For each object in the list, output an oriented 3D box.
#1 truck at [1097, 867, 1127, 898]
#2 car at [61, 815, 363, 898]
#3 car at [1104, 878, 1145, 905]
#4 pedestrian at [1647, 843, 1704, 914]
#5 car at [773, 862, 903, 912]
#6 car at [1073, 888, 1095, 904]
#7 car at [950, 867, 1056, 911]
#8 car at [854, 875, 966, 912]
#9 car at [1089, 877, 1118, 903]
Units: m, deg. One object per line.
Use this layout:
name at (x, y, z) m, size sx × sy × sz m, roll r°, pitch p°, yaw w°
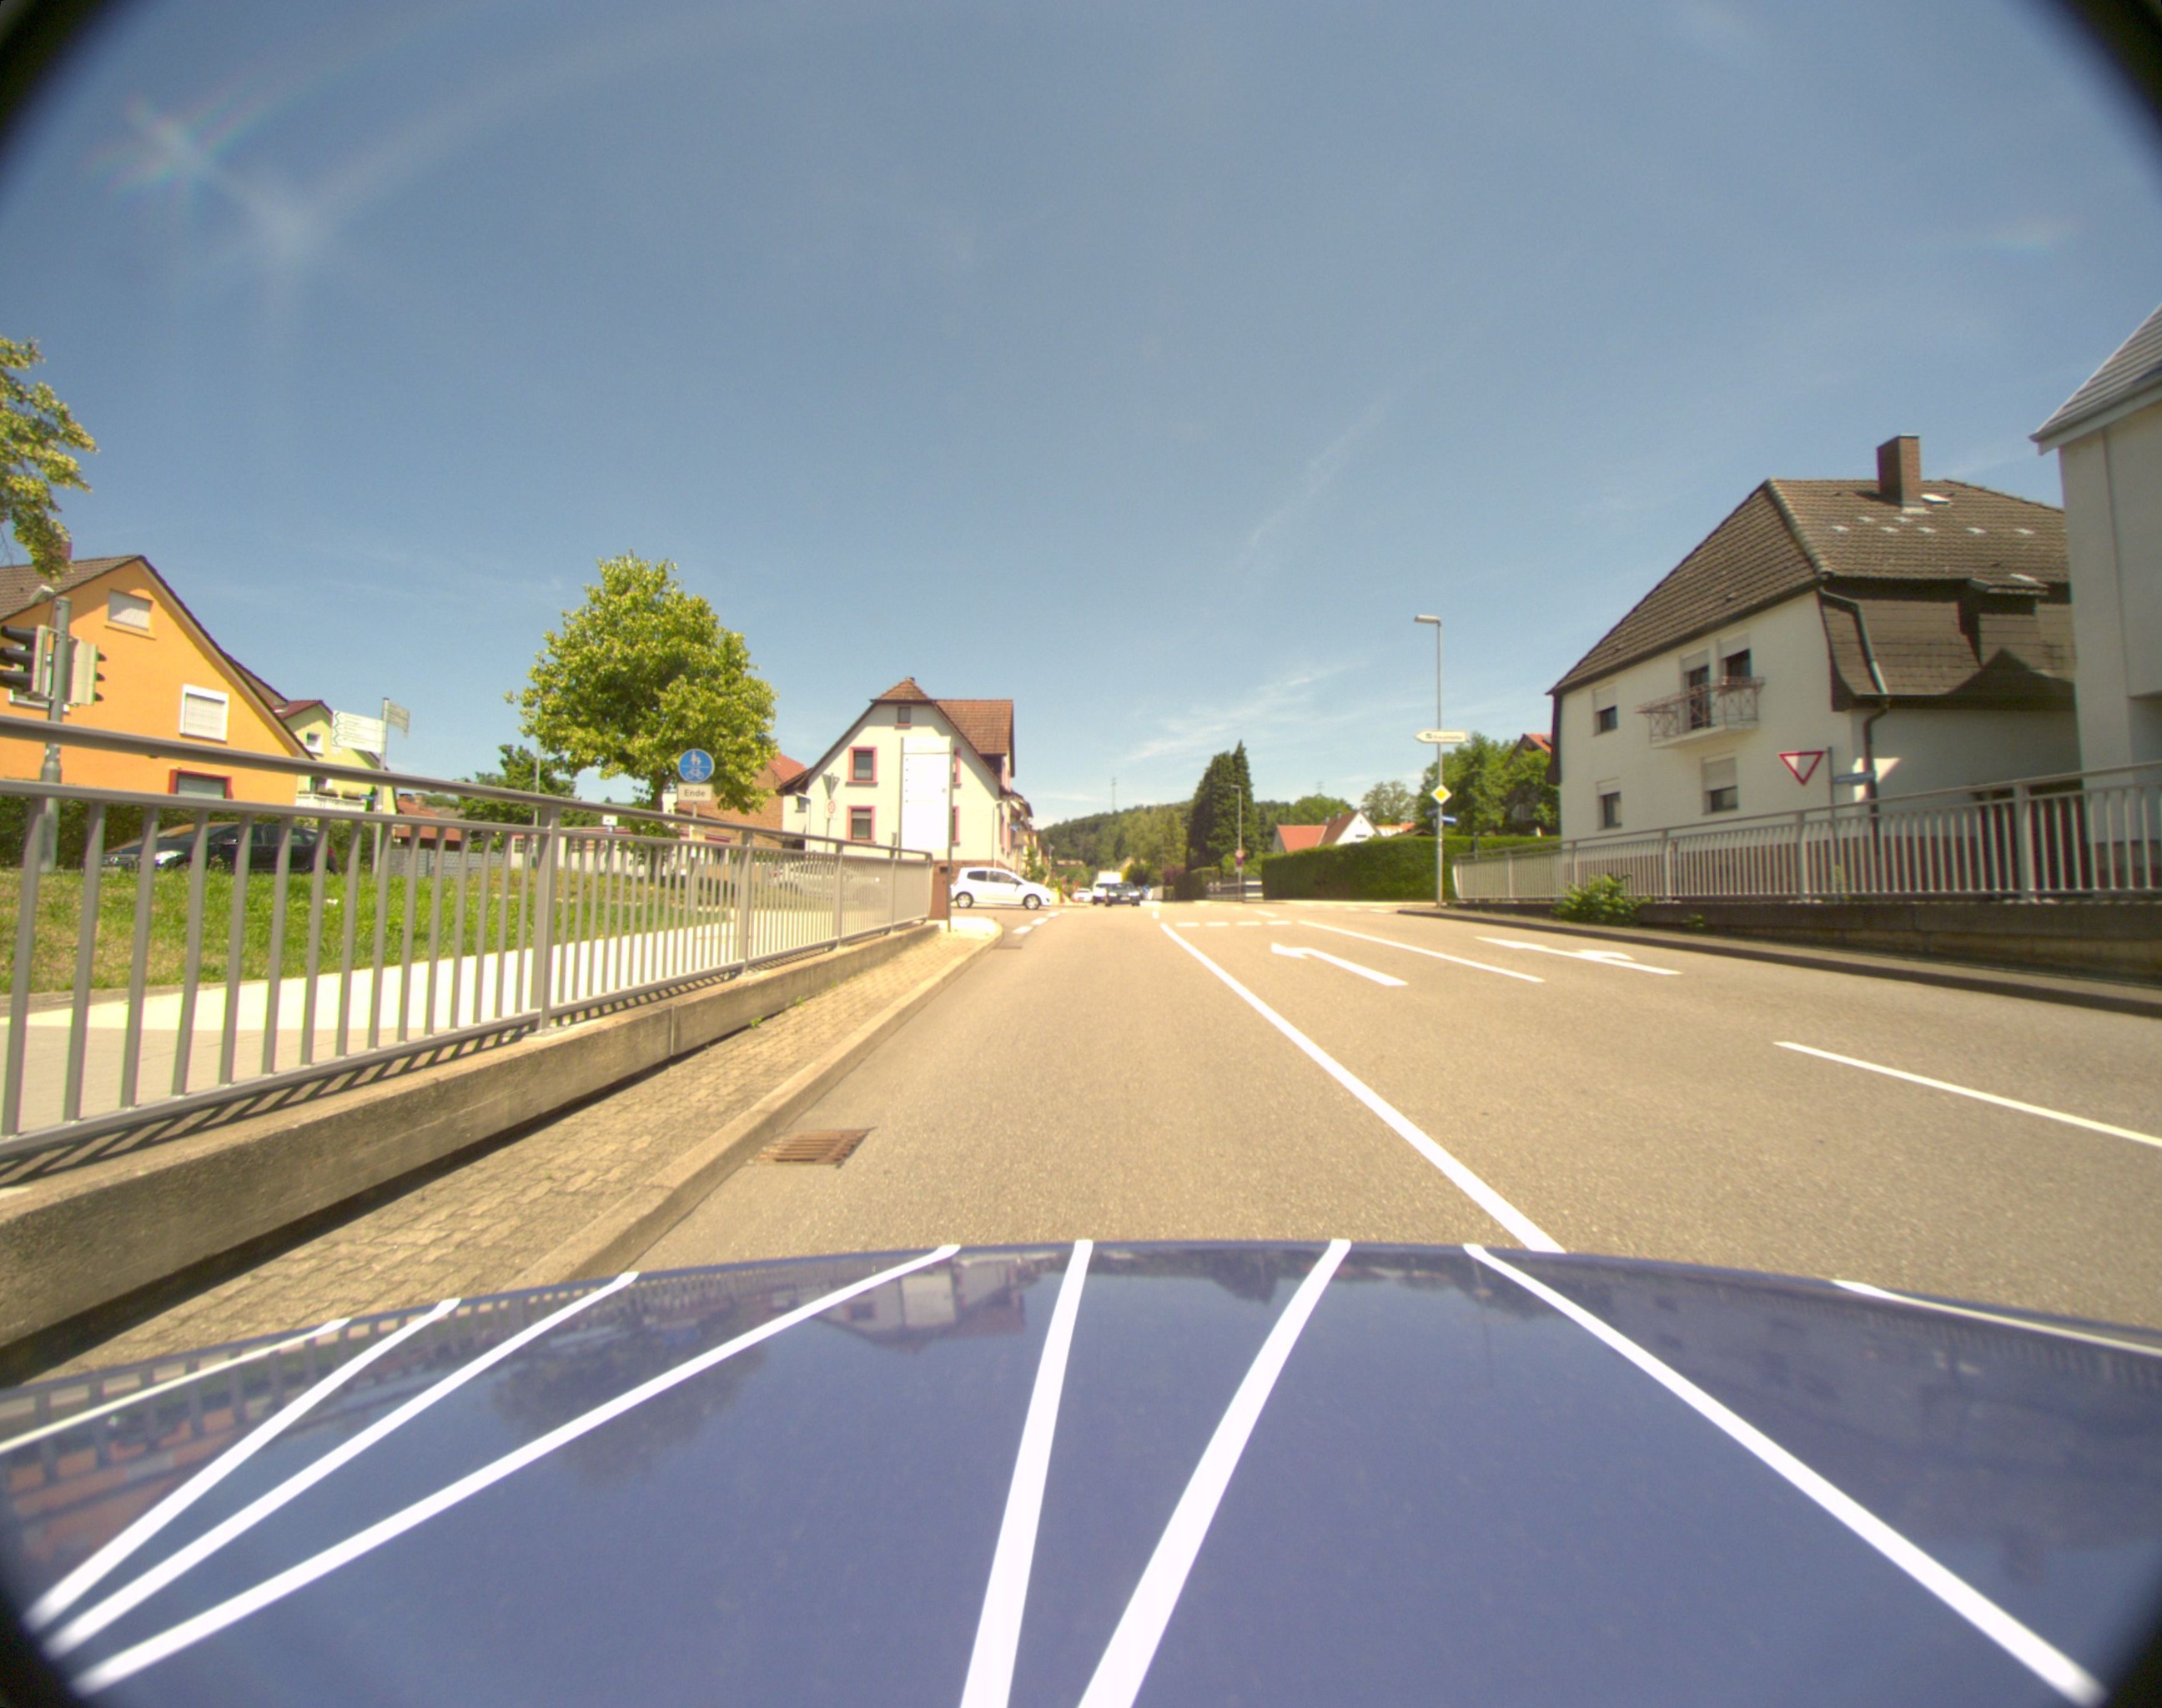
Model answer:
truck at (3.551, 3.394, 88.767) m, size 3.149 × 3.465 × 8.275 m, roll -1°, pitch -3°, yaw 0°
car at (-18.754, 0.172, 16.768) m, size 1.868 × 1.579 × 4.159 m, roll -1°, pitch -3°, yaw -1°
car at (2.370, 2.079, 42.377) m, size 1.864 × 1.440 × 4.001 m, roll 0°, pitch -3°, yaw -3°
pedestrian at (15.008, 0.608, 19.195) m, size 0.729 × 1.719 × 0.856 m, roll -2°, pitch 0°, yaw -2°
car at (-8.436, 1.145, 26.614) m, size 4.129 × 1.526 × 1.774 m, roll 3°, pitch -2°, yaw -16°
car at (0.360, 4.260, 77.462) m, size 1.998 × 1.509 × 4.148 m, roll 0°, pitch -3°, yaw 4°
car at (-2.799, 1.252, 27.524) m, size 3.681 × 1.469 × 1.775 m, roll 1°, pitch -2°, yaw -5°
car at (-6.832, 1.636, 30.787) m, size 4.156 × 1.295 × 1.912 m, roll 2°, pitch -4°, yaw -5°
car at (1.742, 2.854, 60.866) m, size 1.999 × 2.001 × 4.549 m, roll -2°, pitch -2°, yaw -2°
